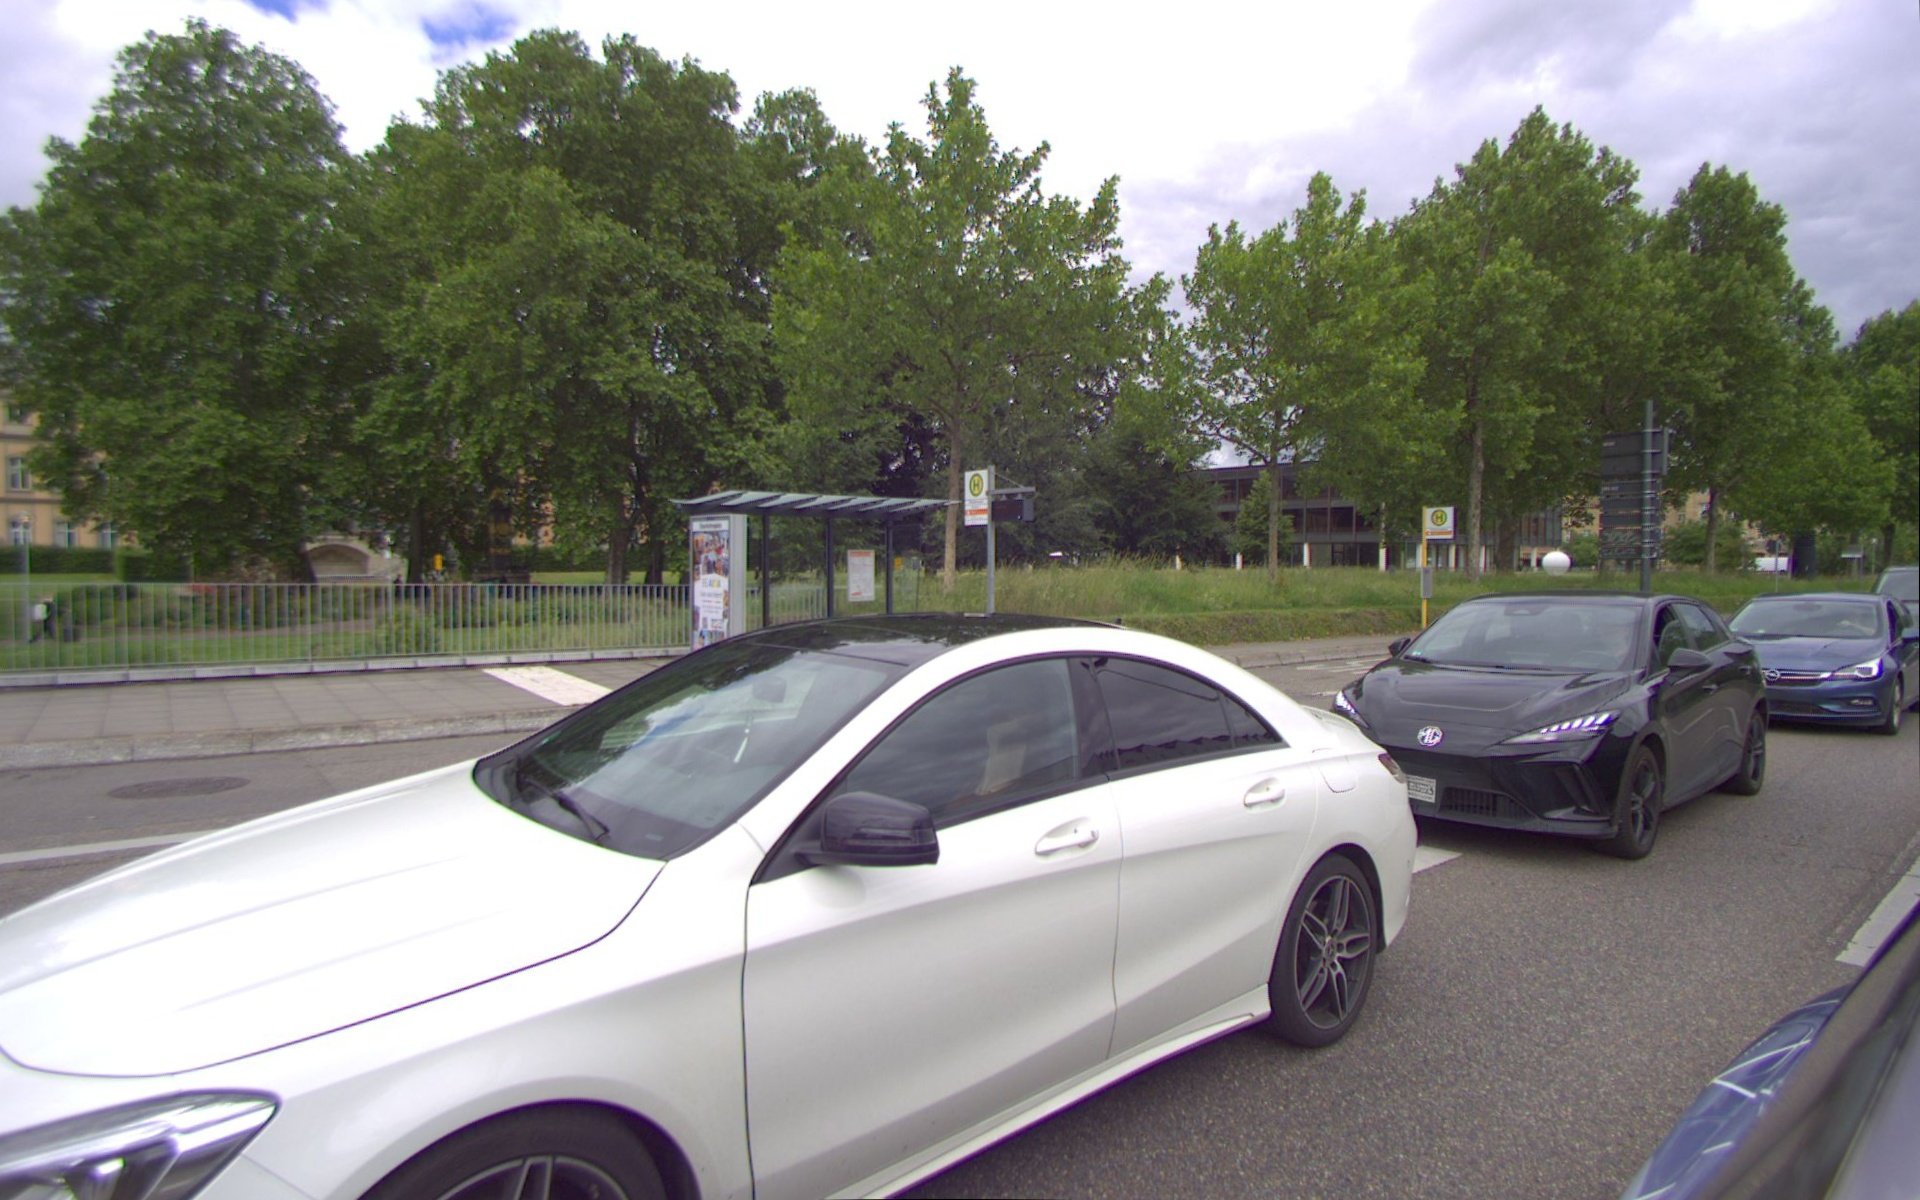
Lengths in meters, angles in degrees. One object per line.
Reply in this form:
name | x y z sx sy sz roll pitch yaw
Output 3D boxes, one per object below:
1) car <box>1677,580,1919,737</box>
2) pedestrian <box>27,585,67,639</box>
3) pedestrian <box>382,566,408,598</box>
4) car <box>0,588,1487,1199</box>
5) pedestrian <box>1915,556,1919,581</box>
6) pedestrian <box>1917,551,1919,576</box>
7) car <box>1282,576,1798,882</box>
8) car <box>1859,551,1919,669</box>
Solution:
car | 9.894 0.516 11.578 3.944 1.452 1.804 -1 2 -40
pedestrian | -28.177 0.364 31.234 0.674 1.621 0.654 -1 0 18
pedestrian | -37.092 -1.192 66.441 1.085 2.039 0.943 -2 0 2
car | -0.243 0.717 3.211 4.446 1.437 1.799 -1 2 -39
pedestrian | 80.442 -2.627 84.516 1.160 2.039 0.891 -2 0 -40
pedestrian | 77.122 -2.931 80.811 1.160 2.039 0.891 -2 0 -40
car | 4.190 0.596 7.061 4.020 1.508 1.852 -1 2 -40
car | 17.099 0.120 17.213 4.719 1.856 2.020 -1 2 -40
